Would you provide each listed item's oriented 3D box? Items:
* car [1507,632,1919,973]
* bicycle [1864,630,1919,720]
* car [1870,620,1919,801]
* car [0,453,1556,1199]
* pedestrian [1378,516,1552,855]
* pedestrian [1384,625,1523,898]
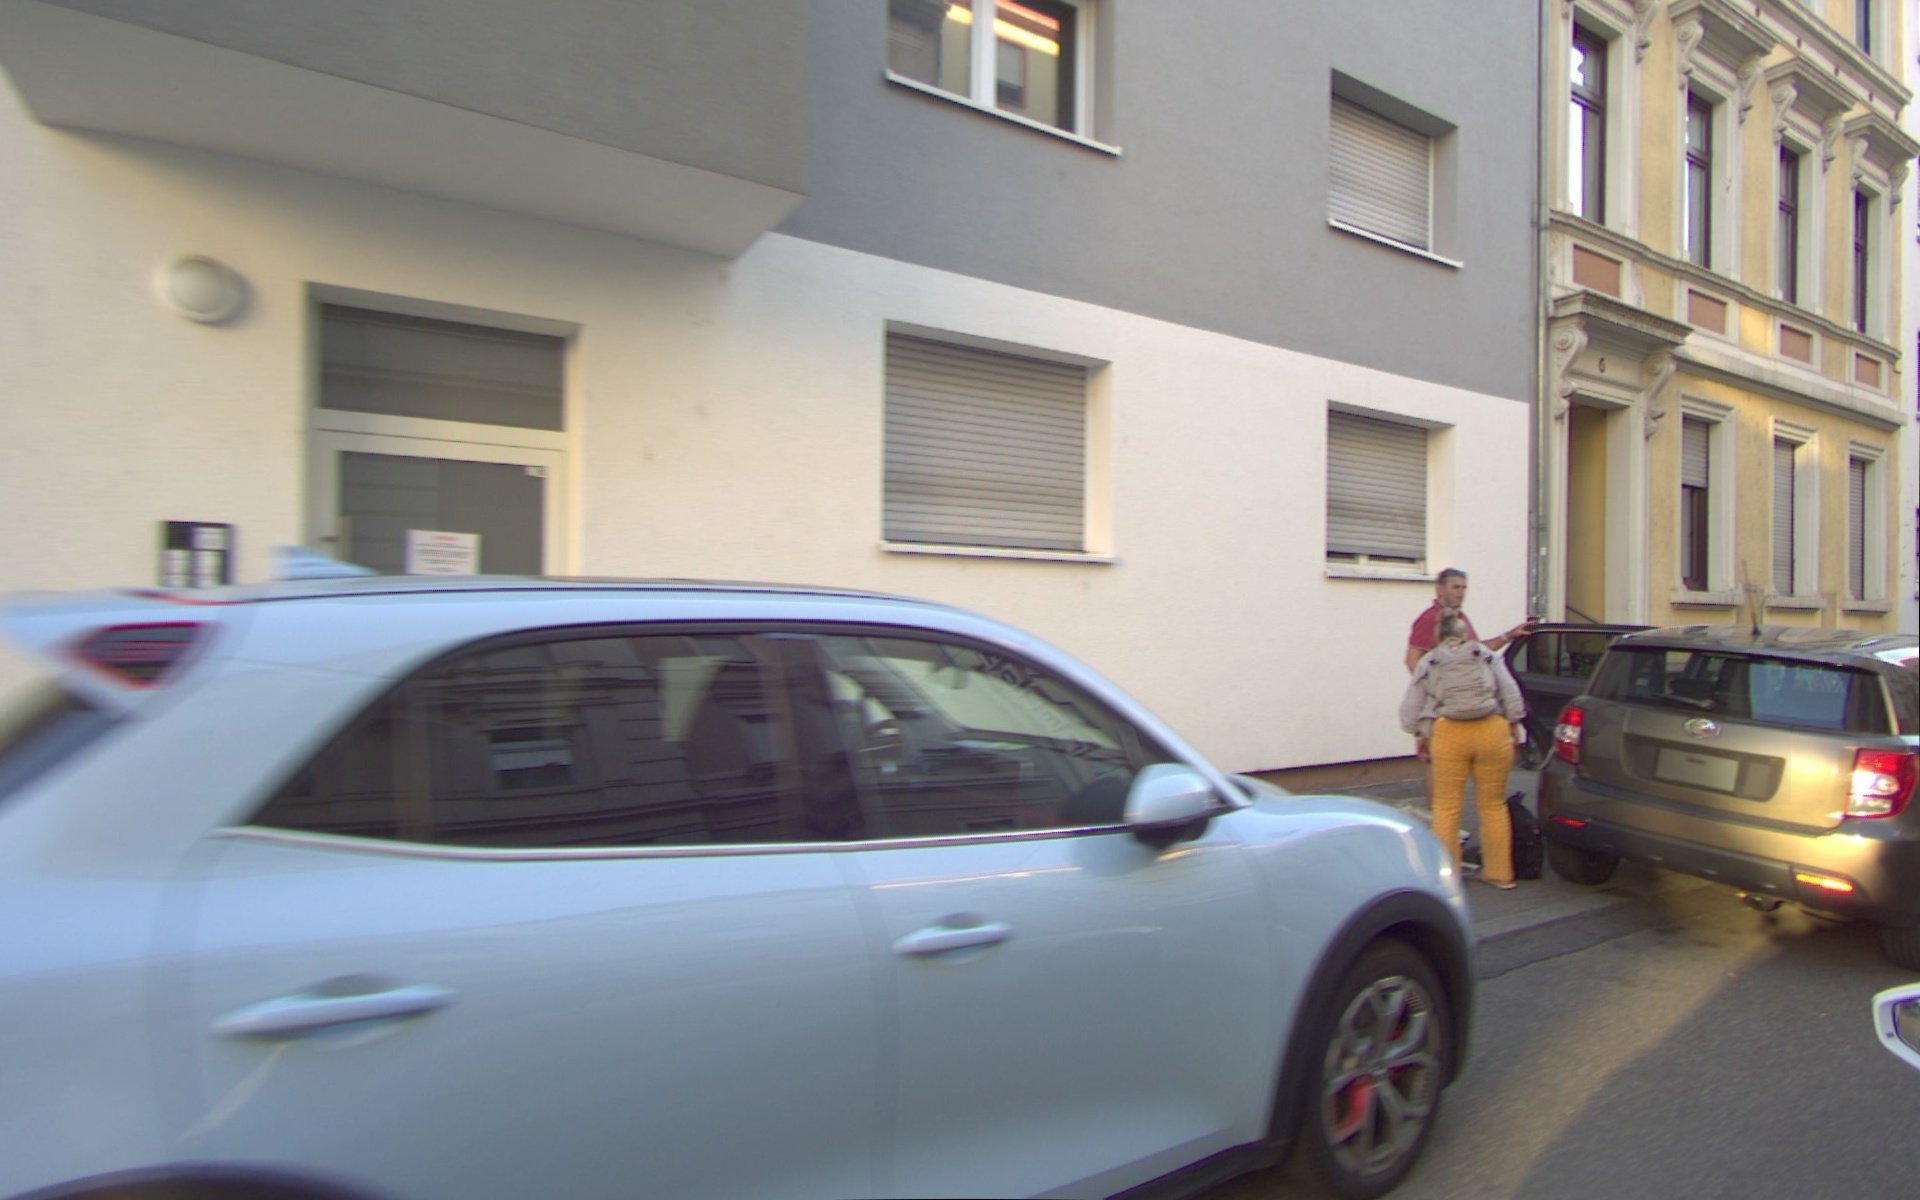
[{"bbox_3d":[5.173,0.903,5.868,4.085,1.350,1.675,2,-1,-32],"label":"car"},{"bbox_3d":[13.756,1.044,14.476,2.099,1.216,0.520,1,-2,-32],"label":"bicycle"},{"bbox_3d":[10.006,0.952,9.031,3.786,1.529,1.719,1,-1,-31],"label":"car"},{"bbox_3d":[-0.334,0.641,2.690,4.323,1.584,1.751,0,-1,-36],"label":"car"},{"bbox_3d":[3.319,0.526,6.607,0.769,2.040,0.791,1,-1,-41],"label":"pedestrian"},{"bbox_3d":[2.830,0.860,5.742,0.650,1.429,0.671,0,-1,31],"label":"pedestrian"}]
